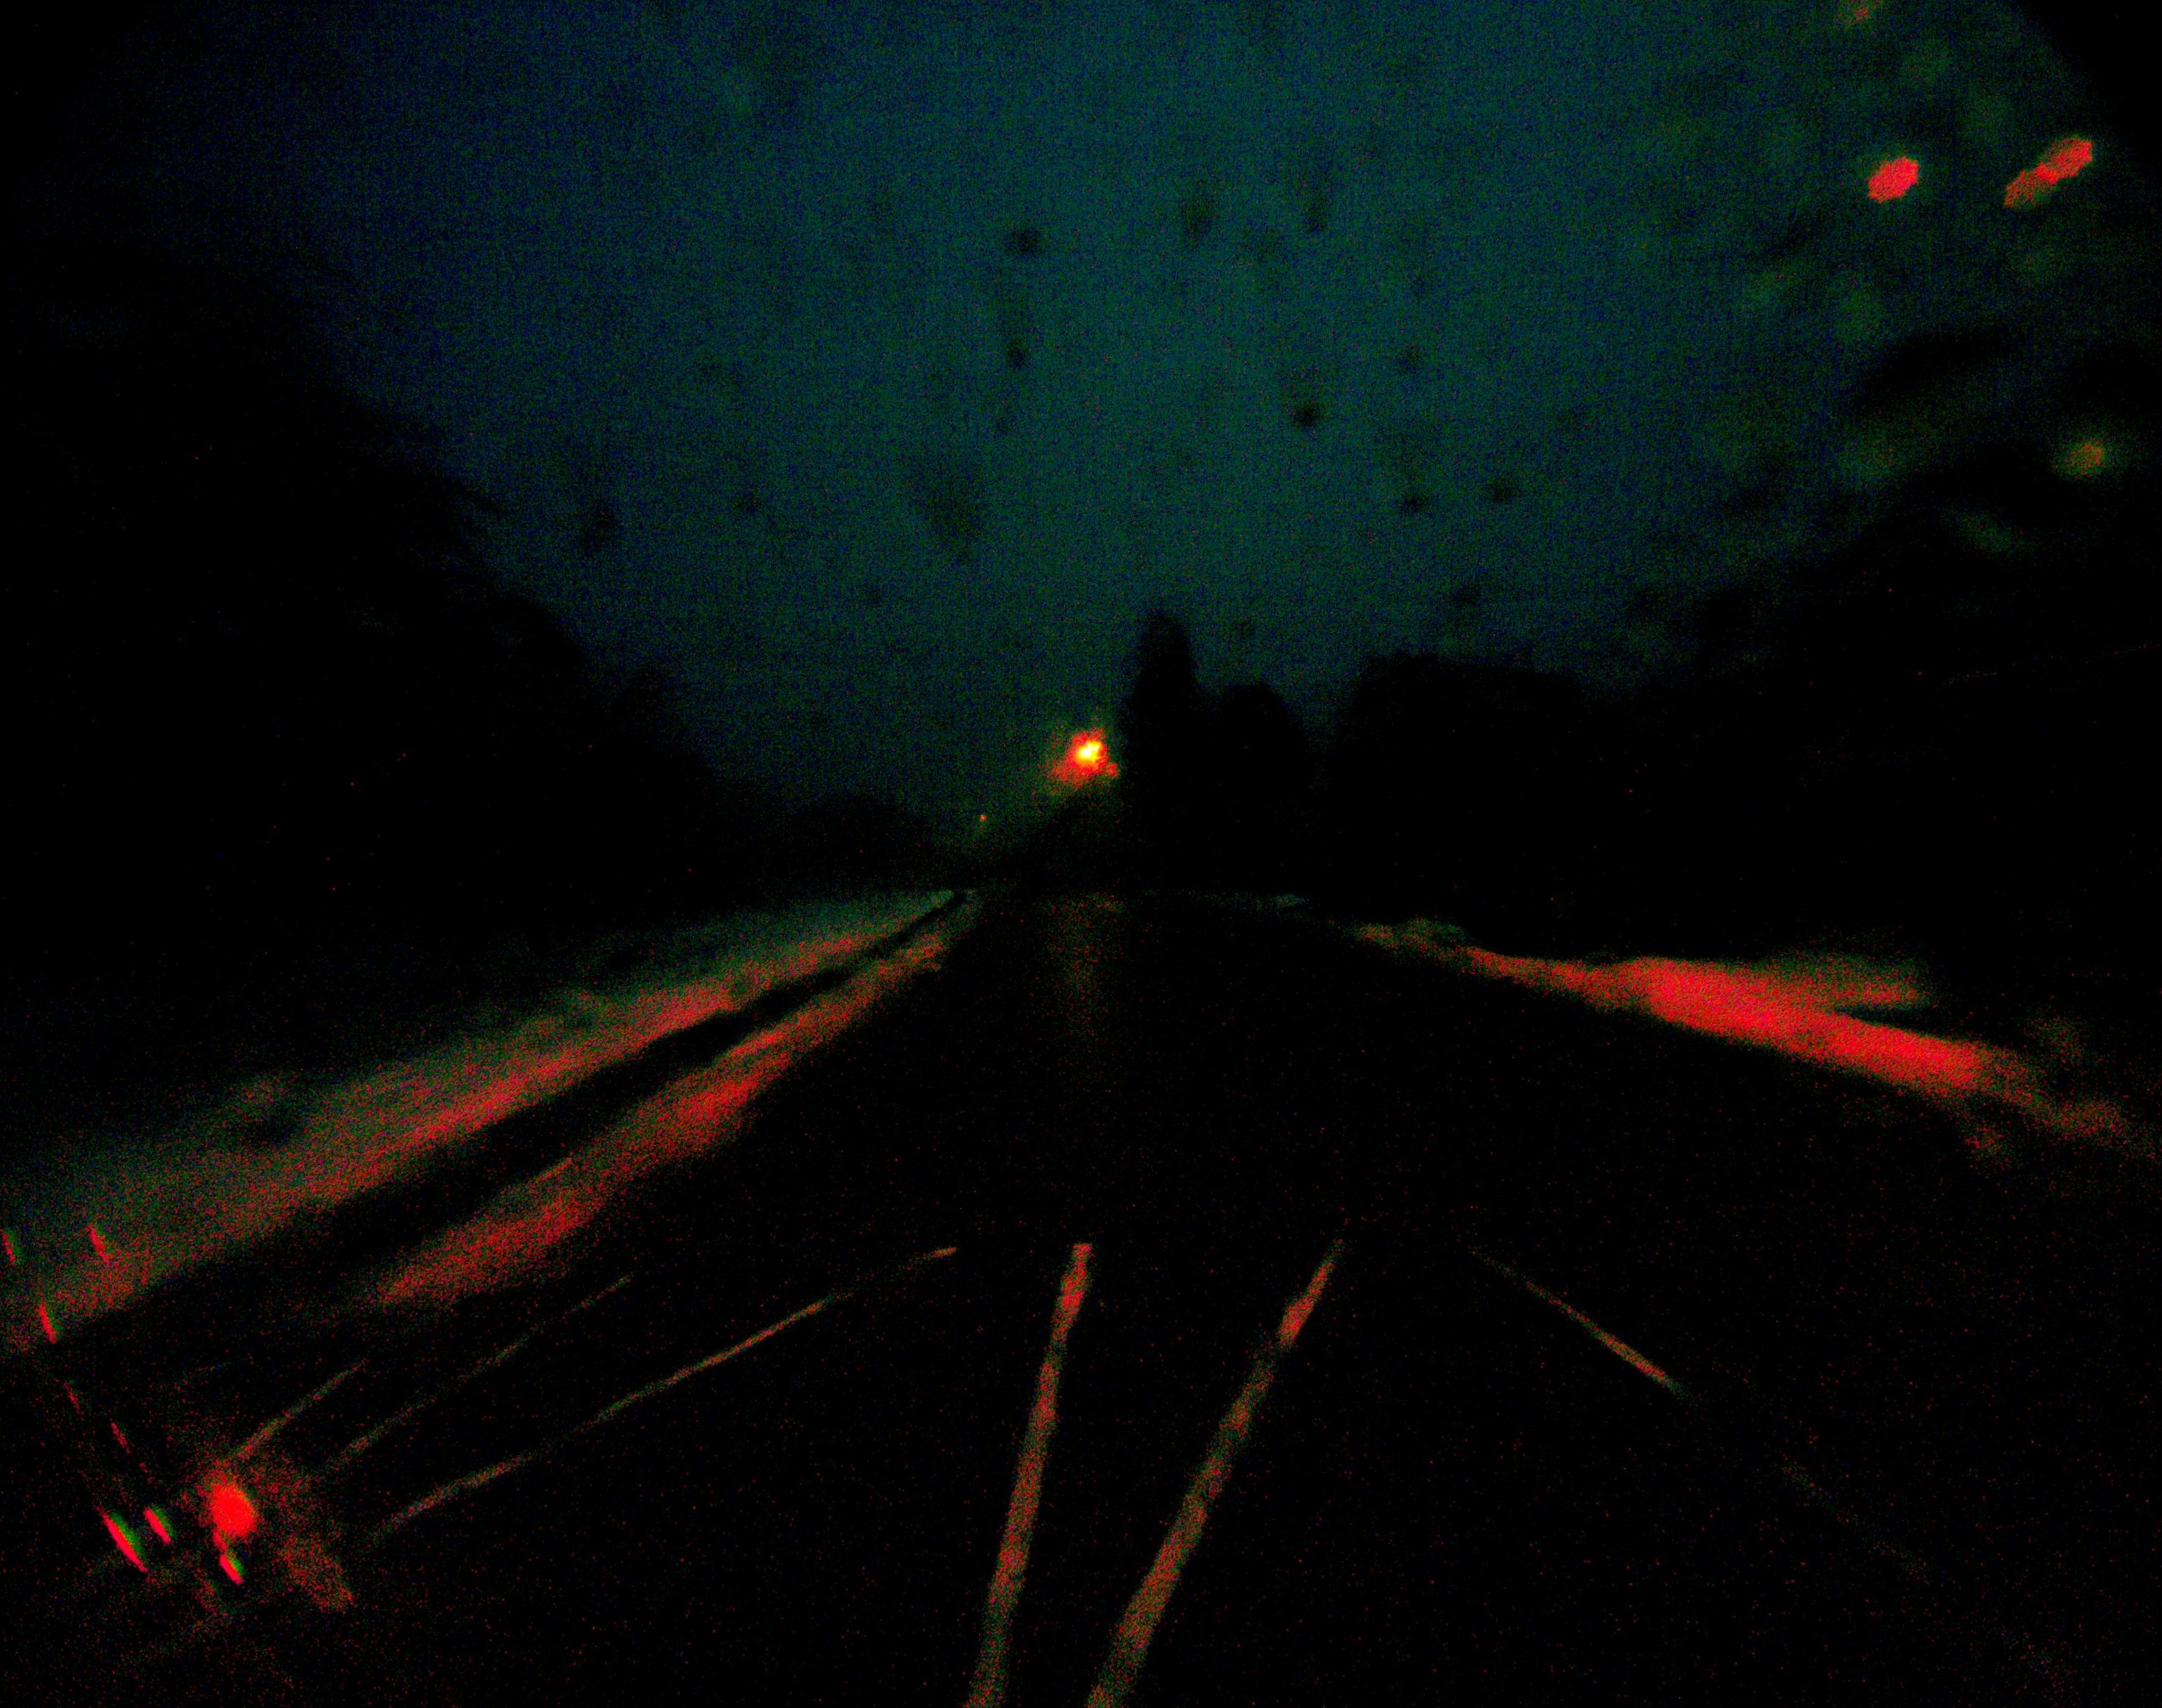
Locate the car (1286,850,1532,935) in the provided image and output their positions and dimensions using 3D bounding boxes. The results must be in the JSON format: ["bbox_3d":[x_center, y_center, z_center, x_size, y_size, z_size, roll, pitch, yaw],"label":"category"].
[{"bbox_3d":[6.870,0.717,16.645,2.002,1.557,4.988,2,0,-21],"label":"car"}]

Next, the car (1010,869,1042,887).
[{"bbox_3d":[-4.999,2.148,68.264,1.884,1.417,5.387,-3,-2,-15],"label":"car"}]

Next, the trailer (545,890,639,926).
[{"bbox_3d":[-32.464,3.582,50.616,4.760,1.930,2.221,-4,-2,-19],"label":"trailer"}]

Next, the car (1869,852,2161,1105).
[{"bbox_3d":[8.097,0.735,5.120,3.866,1.463,1.937,0,0,-7],"label":"car"}]

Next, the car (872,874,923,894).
[{"bbox_3d":[-17.201,2.792,71.298,4.465,1.373,2.034,-6,-1,-14],"label":"car"}]

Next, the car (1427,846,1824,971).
[{"bbox_3d":[7.679,0.695,10.929,4.544,1.557,2.108,0,0,-12],"label":"car"}]
